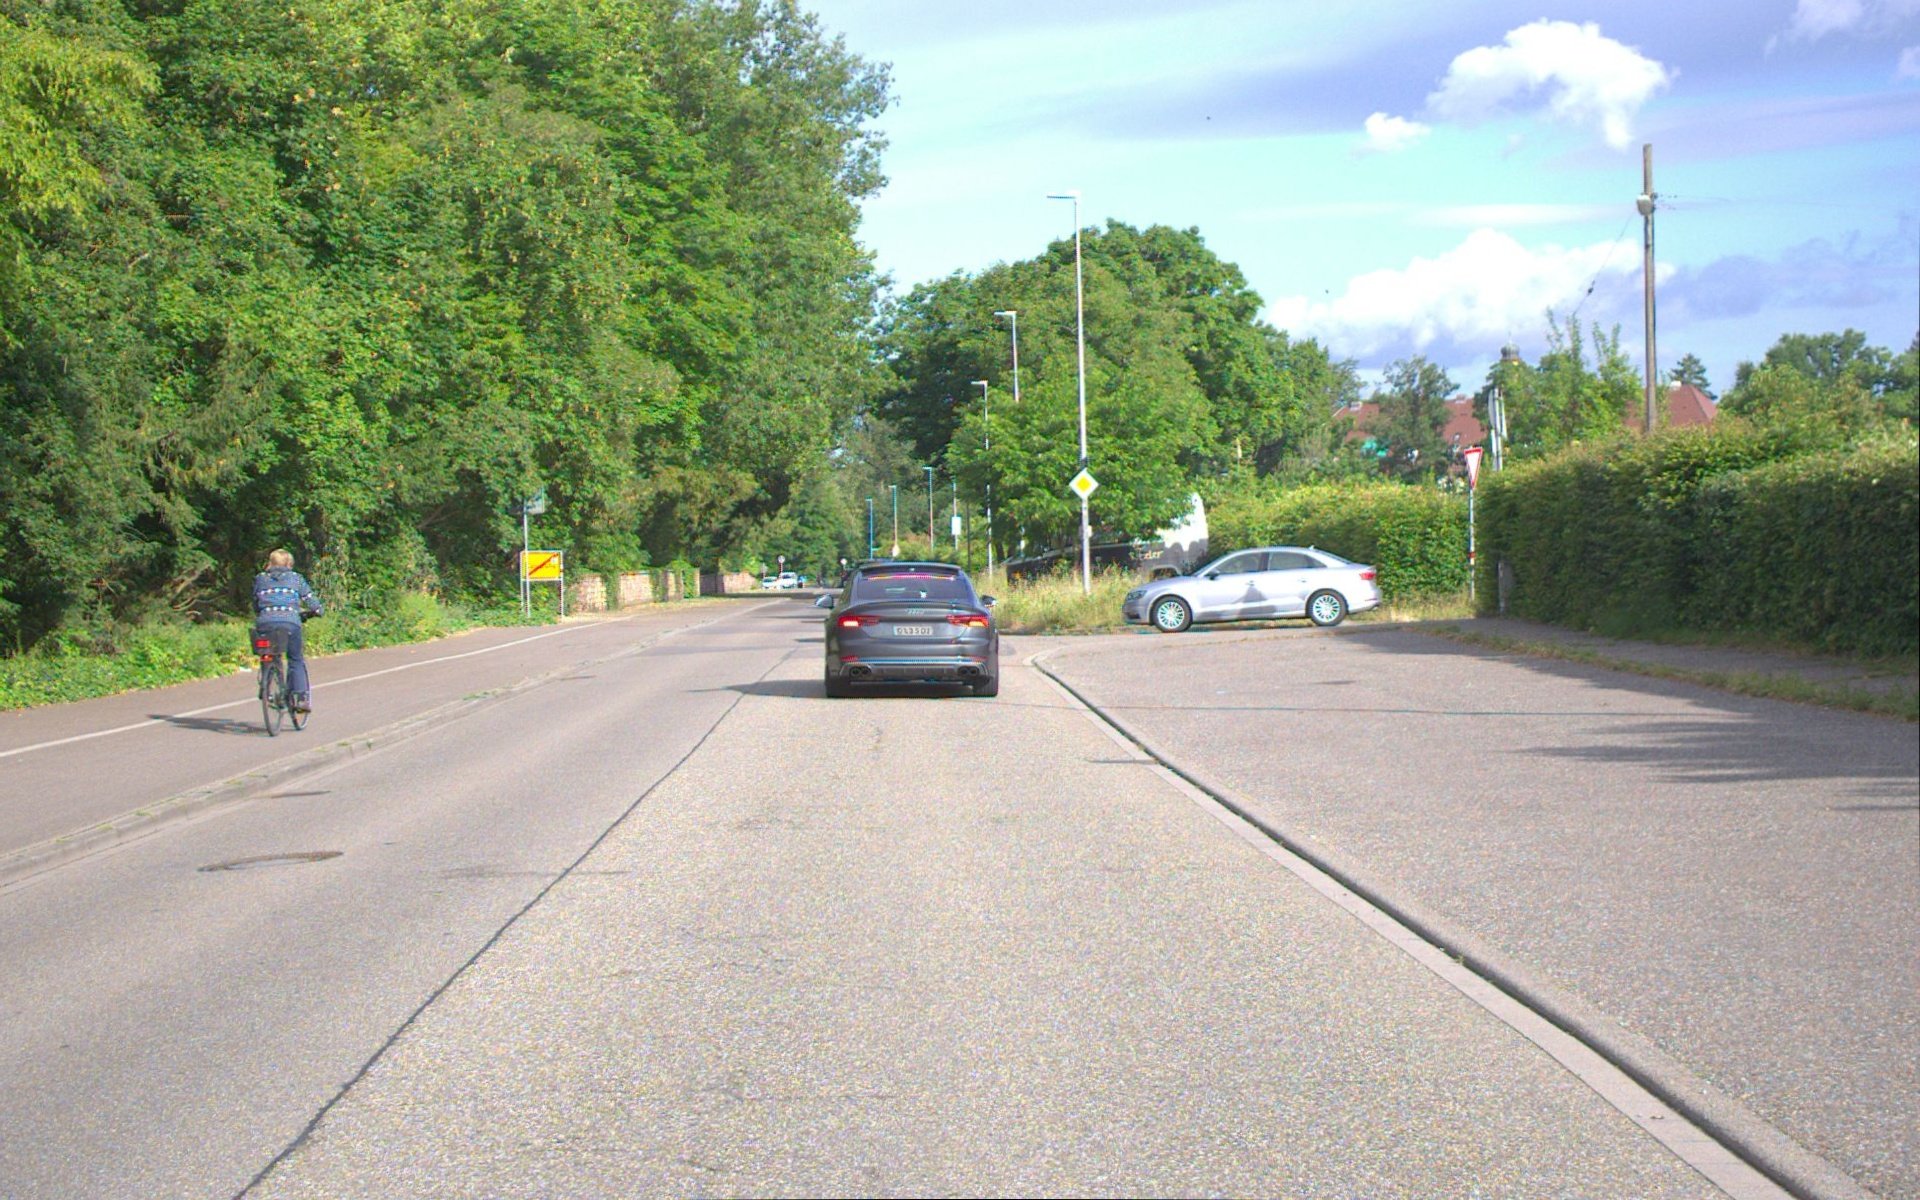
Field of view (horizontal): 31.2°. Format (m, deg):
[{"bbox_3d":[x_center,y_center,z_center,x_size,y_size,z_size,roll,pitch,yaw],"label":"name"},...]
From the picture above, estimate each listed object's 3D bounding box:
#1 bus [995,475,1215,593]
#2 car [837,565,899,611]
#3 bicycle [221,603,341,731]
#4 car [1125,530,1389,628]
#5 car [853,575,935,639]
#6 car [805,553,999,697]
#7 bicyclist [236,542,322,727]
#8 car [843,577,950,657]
[{"bbox_3d":[3.718,-1.719,88.841,5.364,2.737,2.069,-3,1,-4],"label":"bus"},{"bbox_3d":[-2.950,-0.386,109.459,1.886,1.367,4.055,-2,1,-2],"label":"car"},{"bbox_3d":[-6.239,0.594,31.696,0.662,1.093,2.349,0,1,0],"label":"bicycle"},{"bbox_3d":[5.083,-0.363,58.835,4.363,1.438,1.932,-3,0,6],"label":"car"},{"bbox_3d":[-1.644,0.152,84.427,1.886,1.460,4.055,-2,1,-2],"label":"car"},{"bbox_3d":[-0.600,0.224,37.297,1.966,1.429,4.336,-1,1,0],"label":"car"},{"bbox_3d":[-6.247,0.304,31.568,0.608,1.671,0.884,0,1,-1],"label":"bicyclist"},{"bbox_3d":[-1.222,0.295,64.206,1.886,1.367,4.055,-2,1,-2],"label":"car"}]
